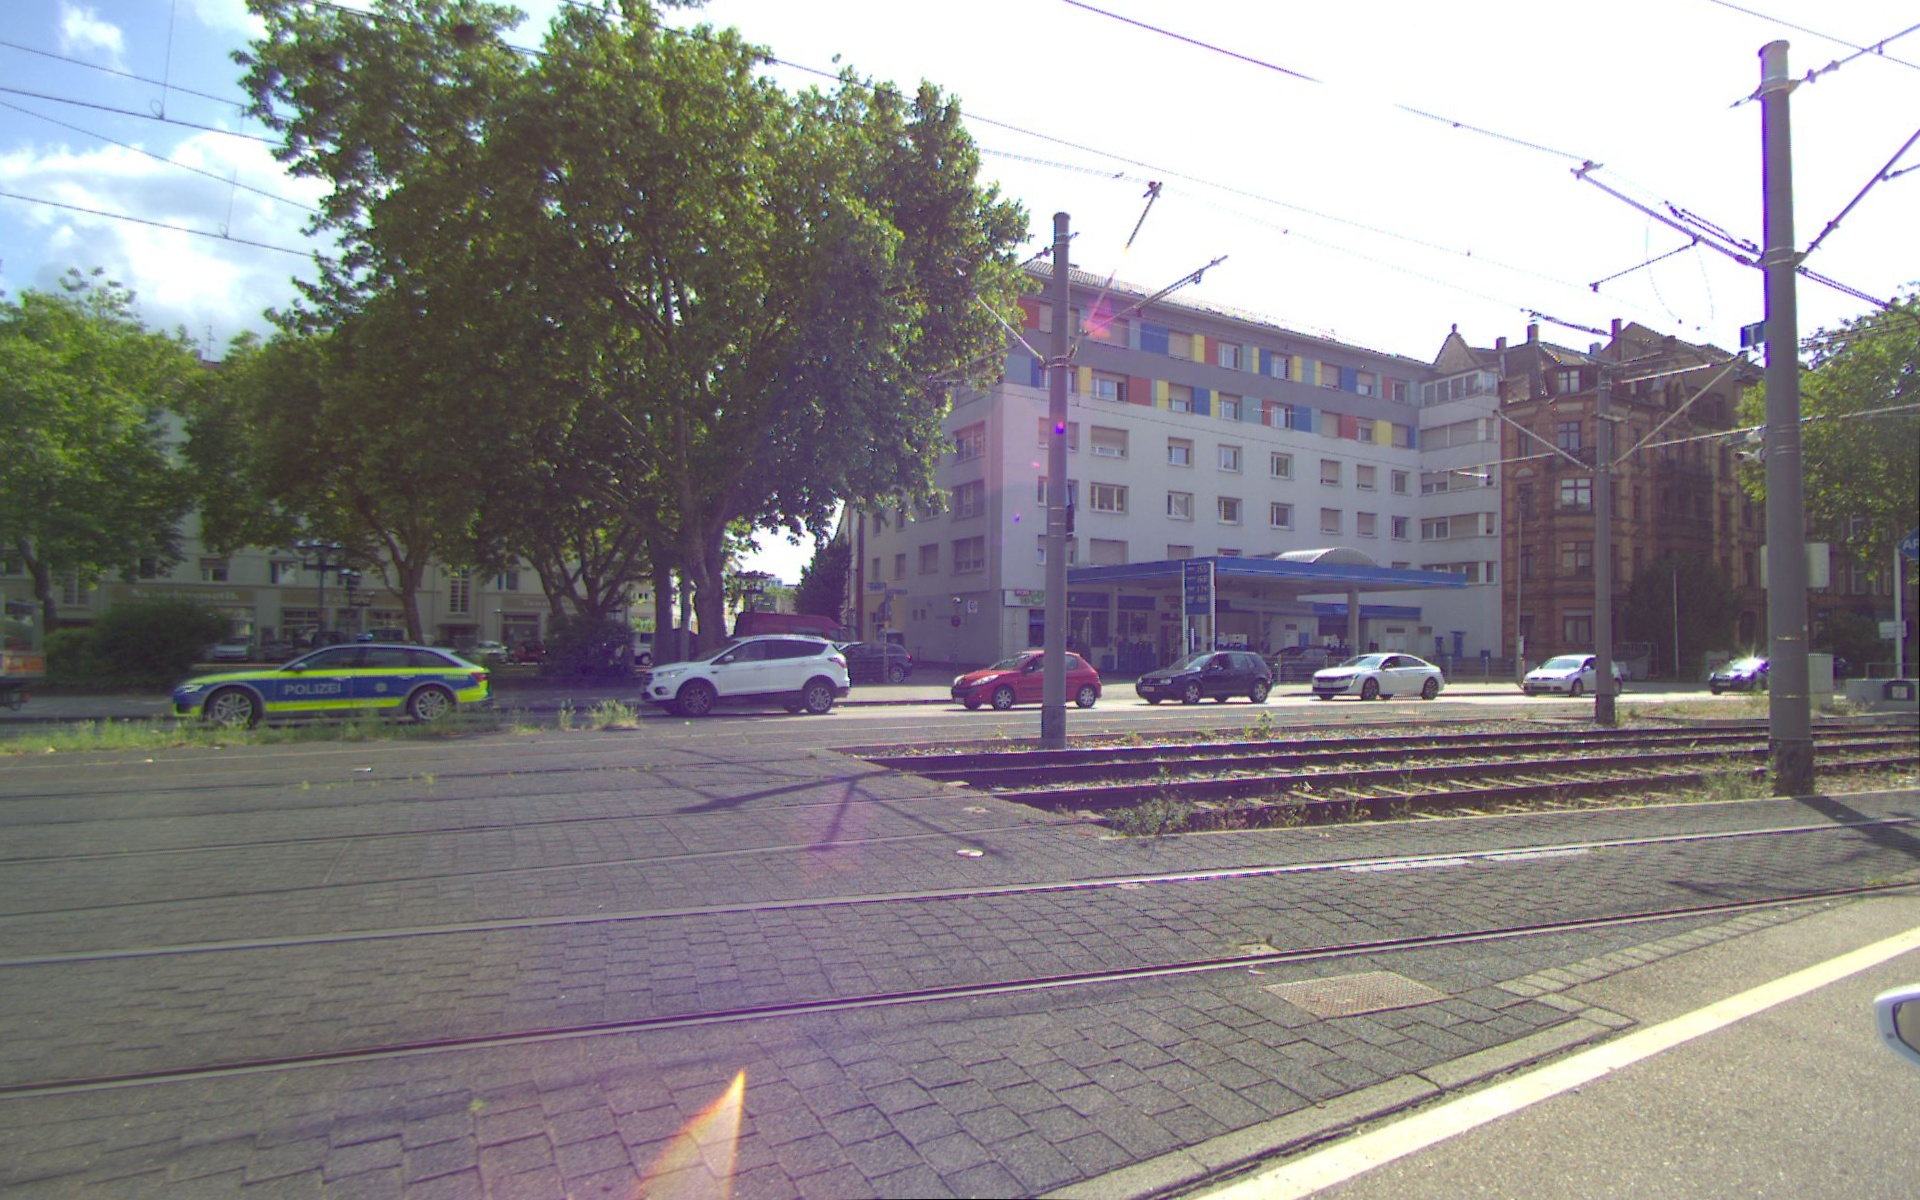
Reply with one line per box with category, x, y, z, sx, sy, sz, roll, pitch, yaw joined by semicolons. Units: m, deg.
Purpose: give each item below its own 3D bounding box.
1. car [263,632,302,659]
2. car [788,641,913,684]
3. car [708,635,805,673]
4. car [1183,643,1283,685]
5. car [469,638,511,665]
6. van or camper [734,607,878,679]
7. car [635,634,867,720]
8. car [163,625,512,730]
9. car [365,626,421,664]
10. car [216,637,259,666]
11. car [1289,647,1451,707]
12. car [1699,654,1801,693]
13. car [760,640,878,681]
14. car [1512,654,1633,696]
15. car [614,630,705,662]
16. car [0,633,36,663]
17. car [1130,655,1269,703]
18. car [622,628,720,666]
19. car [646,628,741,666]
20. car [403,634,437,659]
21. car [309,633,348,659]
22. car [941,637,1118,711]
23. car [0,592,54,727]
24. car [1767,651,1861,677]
car;-43.279;2.906;64.215;1.831;1.681;4.050;2;-3;-31
car;-3.777;2.139;34.755;3.953;1.429;1.744;2;-3;-30
car;-8.986;2.405;44.469;3.953;1.625;1.519;2;-4;-30
car;11.521;2.651;42.335;3.828;1.628;1.894;0;-2;-30
car;-28.125;3.066;60.071;1.831;1.553;4.050;2;-3;-31
van or camper;-6.092;1.749;39.830;5.282;2.675;2.095;2;-5;-28
car;-4.489;1.594;21.759;4.623;1.628;1.752;0;-2;-30
car;-10.972;1.355;18.180;5.091;1.673;1.859;2;-4;-29
car;-32.619;2.622;57.894;2.222;2.039;3.916;1;-5;-21
car;-45.274;3.211;63.021;1.831;1.681;4.050;2;-3;-31
car;12.705;2.316;31.038;5.015;1.628;1.939;0;-2;-30
car;31.650;2.917;40.241;3.730;1.435;1.664;1;-2;-24
car;-5.187;2.228;37.071;3.953;1.429;1.744;2;-3;-30
car;22.067;2.664;36.170;4.350;1.435;1.715;2;-3;-28
car;-18.959;2.946;63.502;5.196;1.896;1.983;2;-5;-32
car;-55.305;2.739;58.095;1.830;1.681;4.051;2;-3;-30
car;6.604;2.149;27.698;3.588;1.204;1.610;2;-2;-28
car;-16.899;2.786;58.831;5.199;2.113;1.982;2;-5;-34
car;-14.379;2.572;54.274;4.628;1.959;1.985;2;-5;-30
car;-36.788;3.149;68.412;1.831;1.681;4.050;2;-3;-31
car;-41.182;2.984;65.563;2.059;1.681;4.050;2;-3;-31
car;1.726;1.760;24.701;4.094;1.628;1.705;0;-2;-30
car;-17.018;0.913;14.654;5.271;2.013;2.066;0;-2;-30
car;52.604;3.931;61.949;1.974;1.503;3.974;2;-2;-26
